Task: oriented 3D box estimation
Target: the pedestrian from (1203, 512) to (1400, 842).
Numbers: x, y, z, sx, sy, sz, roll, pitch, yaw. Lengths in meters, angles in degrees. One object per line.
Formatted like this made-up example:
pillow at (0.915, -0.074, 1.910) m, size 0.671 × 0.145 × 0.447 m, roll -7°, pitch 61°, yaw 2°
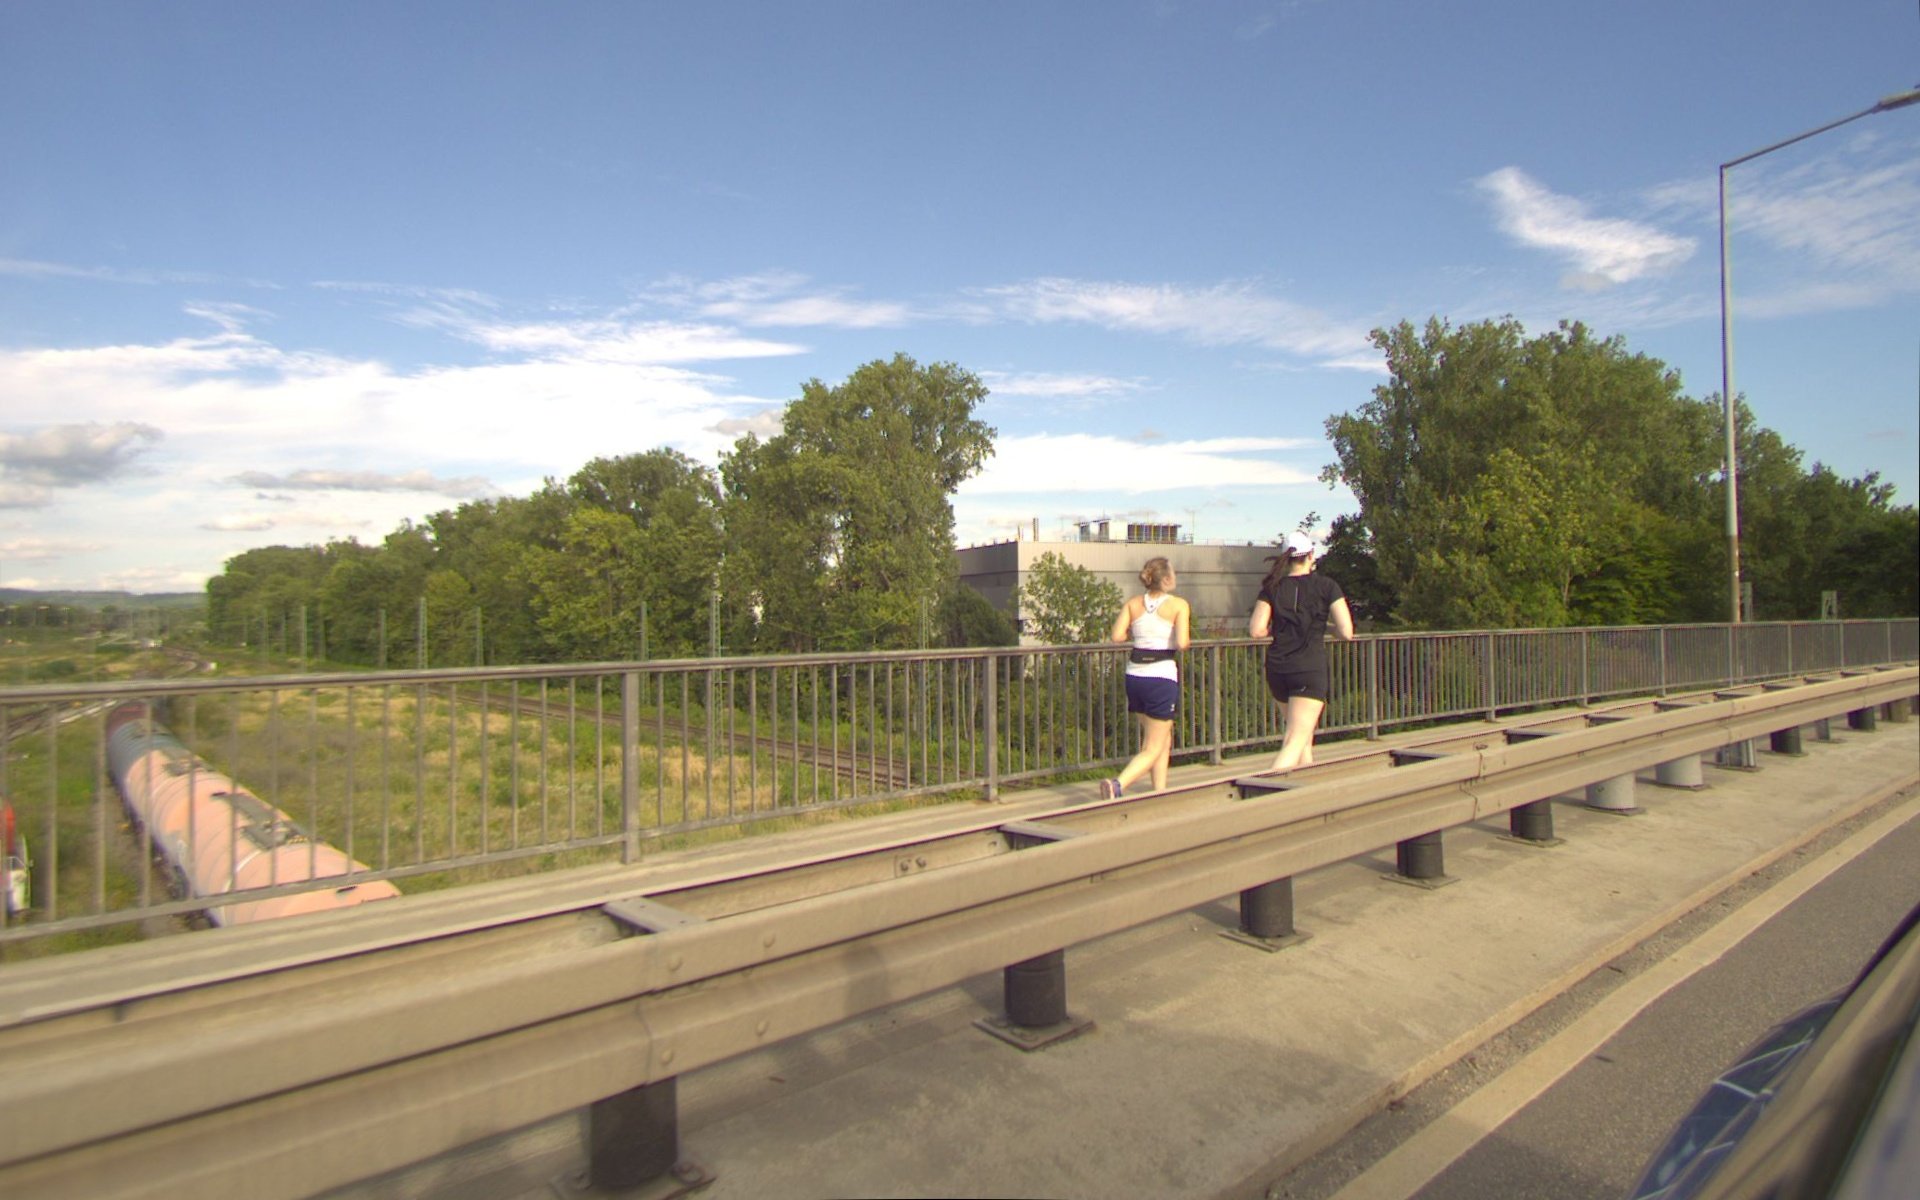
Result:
pedestrian at (1.913, 0.379, 5.679) m, size 0.849 × 1.682 × 0.678 m, roll 0°, pitch 1°, yaw -38°

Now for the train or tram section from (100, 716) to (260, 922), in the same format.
train or tram section at (-31.126, 7.926, 39.899) m, size 3.046 × 4.771 × 16.704 m, roll -1°, pitch 1°, yaw -44°

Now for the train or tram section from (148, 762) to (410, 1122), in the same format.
train or tram section at (-19.449, 8.198, 27.961) m, size 3.046 × 4.771 × 16.706 m, roll -1°, pitch 2°, yaw -44°

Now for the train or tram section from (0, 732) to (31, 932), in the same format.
train or tram section at (-36.712, 8.155, 37.523) m, size 3.045 × 4.196 × 17.262 m, roll -1°, pitch 2°, yaw -44°

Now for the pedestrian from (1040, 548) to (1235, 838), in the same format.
pedestrian at (1.052, 0.488, 5.993) m, size 0.943 × 1.563 × 0.678 m, roll 0°, pitch 1°, yaw -38°

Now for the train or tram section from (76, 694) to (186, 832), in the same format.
train or tram section at (-42.790, 7.878, 51.896) m, size 3.046 × 4.772 × 16.705 m, roll -1°, pitch 0°, yaw -44°

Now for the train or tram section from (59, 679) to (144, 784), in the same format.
train or tram section at (-54.372, 7.934, 63.867) m, size 3.046 × 4.772 × 16.705 m, roll -1°, pitch 0°, yaw -44°
